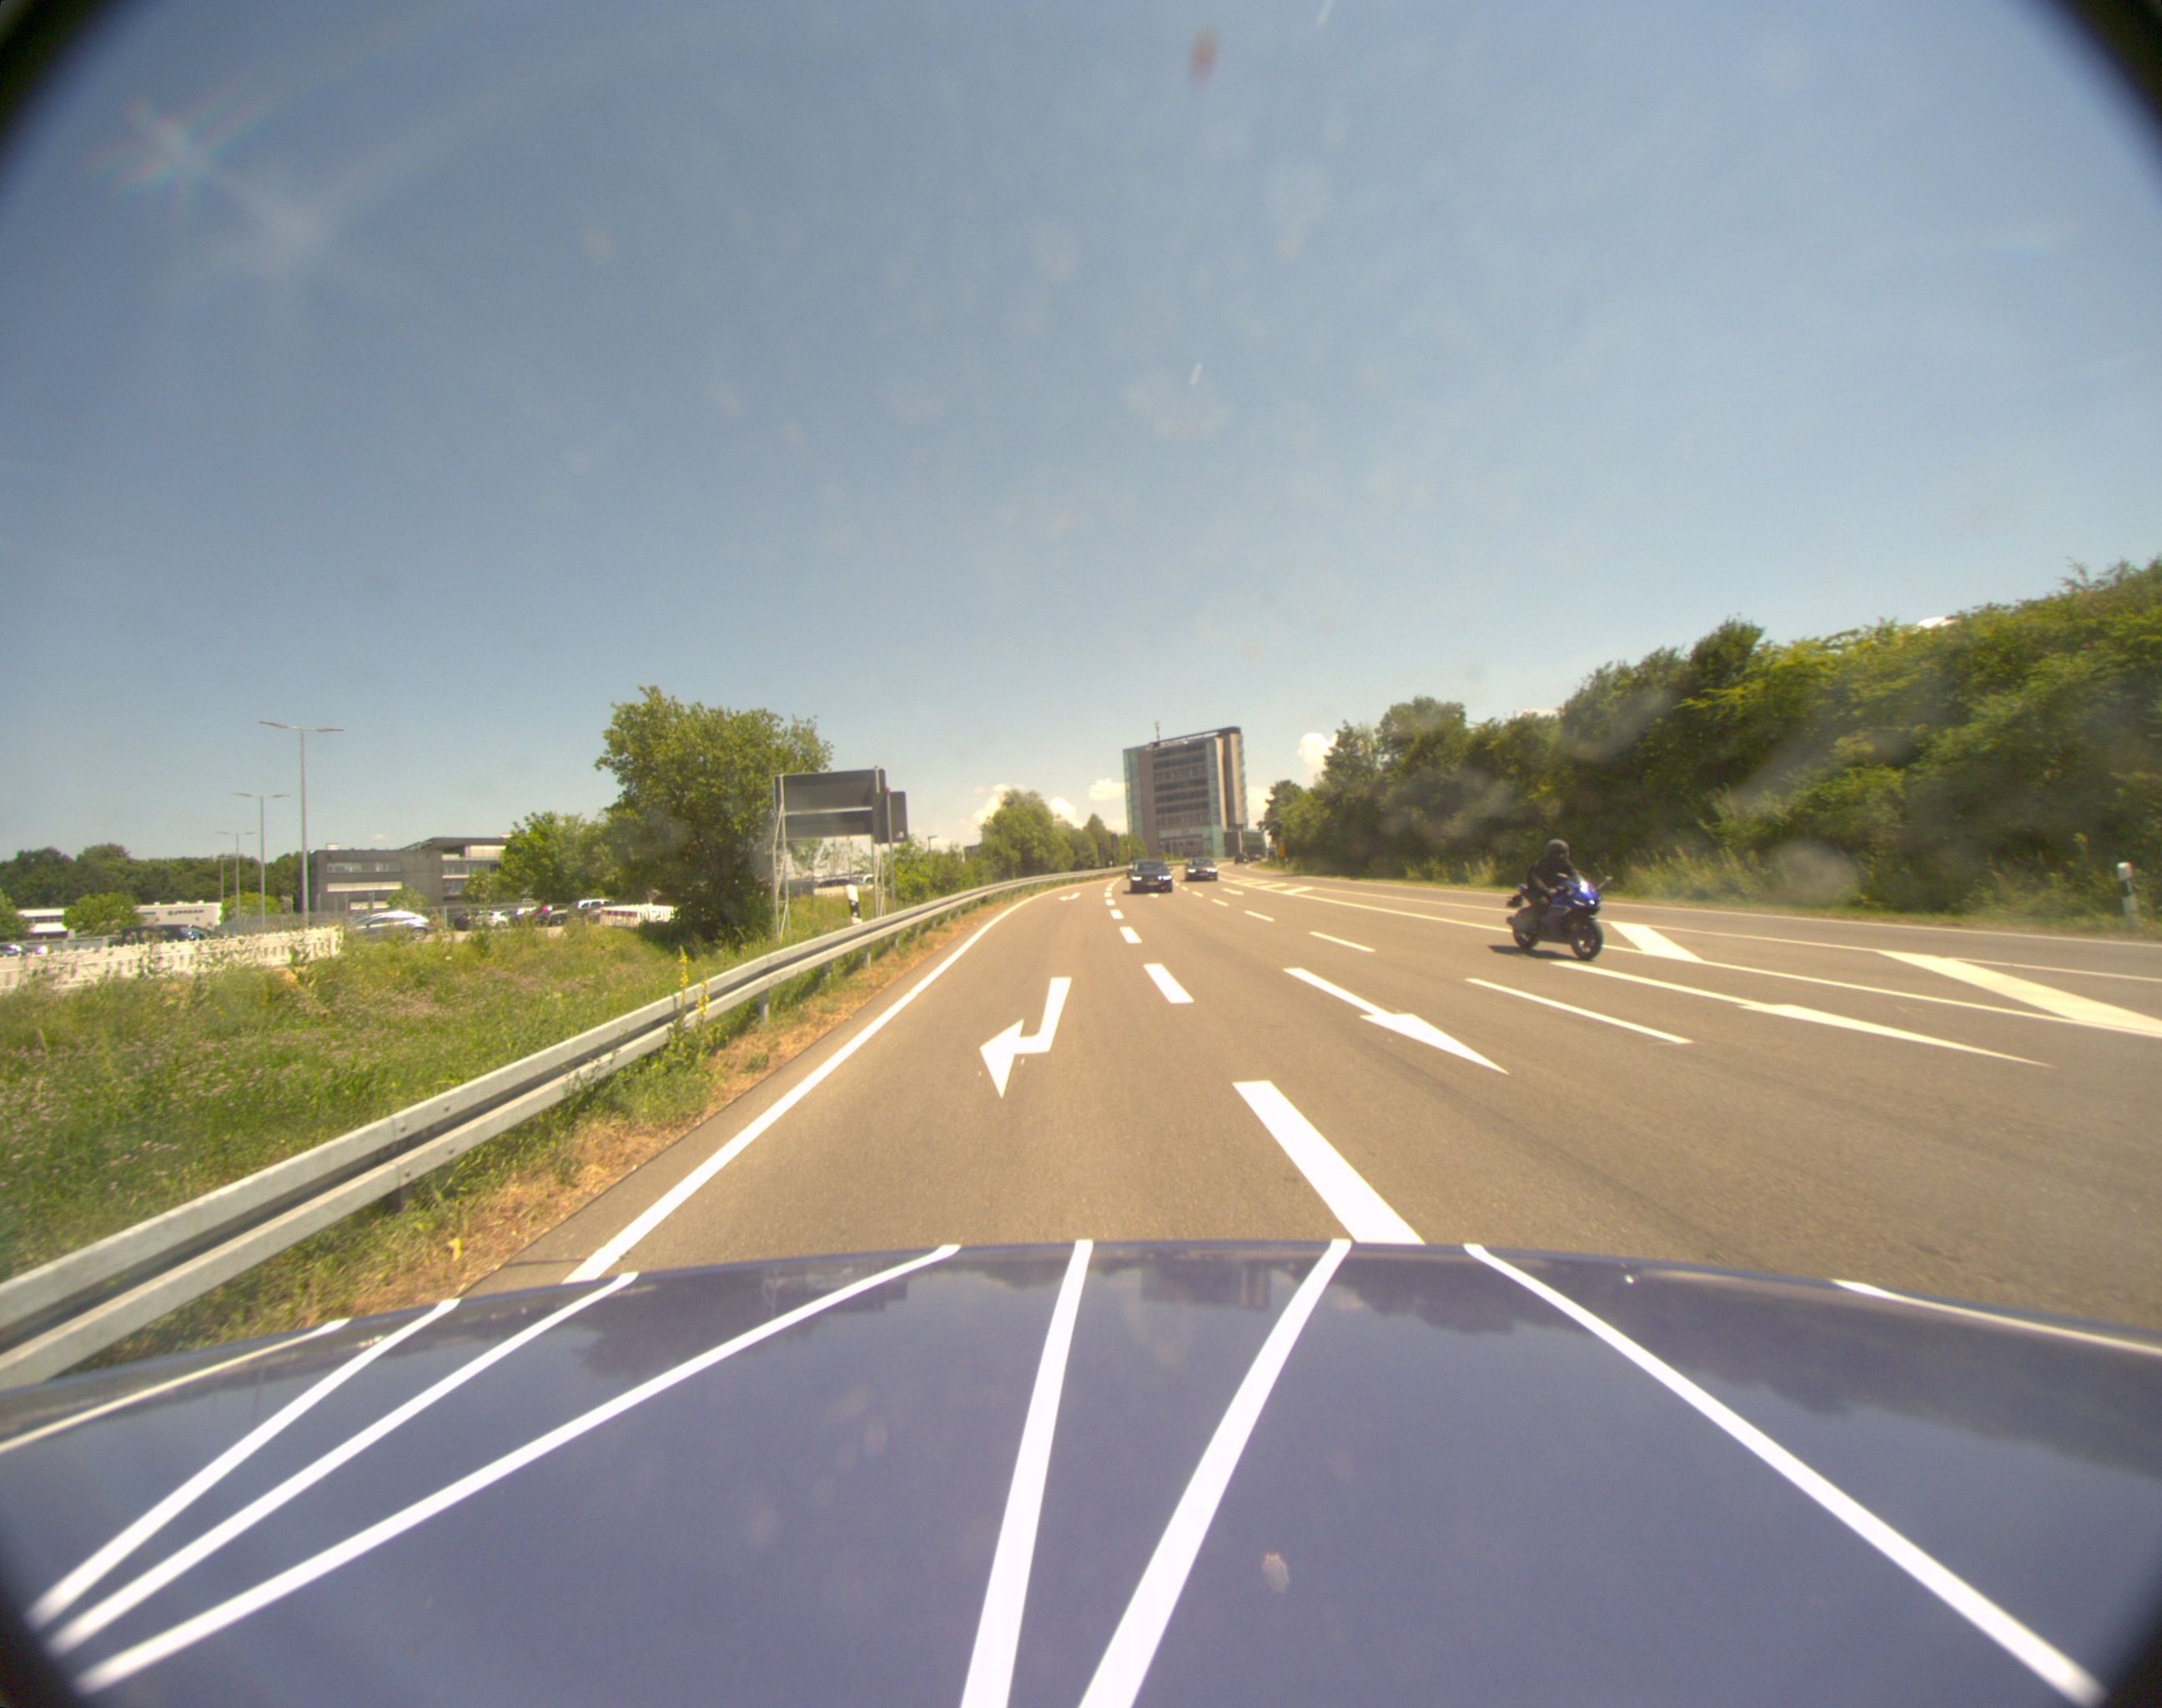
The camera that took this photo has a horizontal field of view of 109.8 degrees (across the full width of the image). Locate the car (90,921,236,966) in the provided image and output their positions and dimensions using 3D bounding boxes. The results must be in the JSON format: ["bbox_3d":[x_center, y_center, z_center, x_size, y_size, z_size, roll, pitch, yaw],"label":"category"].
[{"bbox_3d":[-46.130,4.447,38.331,2.097,1.675,4.549,-3,0,39],"label":"car"}]

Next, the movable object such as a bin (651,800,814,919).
[{"bbox_3d":[-17.573,0.442,39.323,3.432,5.228,9.235,-4,-3,3],"label":"movable object such as a bin"}]

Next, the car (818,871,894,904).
[{"bbox_3d":[-15.434,2.321,52.321,4.441,1.901,2.066,-4,-2,7],"label":"car"}]

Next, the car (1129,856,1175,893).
[{"bbox_3d":[3.136,0.906,34.459,1.779,1.497,4.562,-2,-1,2],"label":"car"}]

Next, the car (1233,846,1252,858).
[{"bbox_3d":[23.476,-0.309,110.191,1.996,1.583,4.689,-2,0,20],"label":"car"}]

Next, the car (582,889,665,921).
[{"bbox_3d":[-28.916,3.202,48.107,1.995,1.663,4.008,-2,0,37],"label":"car"}]

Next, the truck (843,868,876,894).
[{"bbox_3d":[-37.016,4.544,126.719,3.135,3.661,9.403,-3,-3,-29],"label":"truck"}]

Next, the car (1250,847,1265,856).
[{"bbox_3d":[30.179,-0.503,129.913,1.818,1.433,4.651,-1,0,23],"label":"car"}]

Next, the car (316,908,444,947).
[{"bbox_3d":[-35.944,3.714,39.067,1.994,1.499,4.622,-2,0,42],"label":"car"}]

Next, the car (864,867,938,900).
[{"bbox_3d":[-14.283,2.360,60.584,5.230,2.243,2.136,-4,-2,2],"label":"car"}]

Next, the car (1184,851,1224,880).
[{"bbox_3d":[7.561,0.690,47.083,2.116,1.581,4.453,-3,0,6],"label":"car"}]

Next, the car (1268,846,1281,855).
[{"bbox_3d":[39.541,-0.738,155.071,1.995,1.883,5.111,-2,0,22],"label":"car"}]

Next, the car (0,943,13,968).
[{"bbox_3d":[-77.695,7.252,52.245,4.549,1.675,2.097,-4,0,-43],"label":"car"}]

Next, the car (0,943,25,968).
[{"bbox_3d":[-80.085,7.527,54.596,4.549,1.675,2.097,-4,0,-43],"label":"car"}]

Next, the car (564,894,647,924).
[{"bbox_3d":[-31.353,3.602,50.184,1.994,1.624,4.164,-2,0,38],"label":"car"}]

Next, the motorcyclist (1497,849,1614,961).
[{"bbox_3d":[6.695,0.691,10.779,0.861,1.479,1.161,-1,0,-5],"label":"motorcyclist"}]

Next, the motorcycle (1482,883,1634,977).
[{"bbox_3d":[6.709,1.025,10.853,0.734,1.131,2.072,-1,0,-5],"label":"motorcycle"}]

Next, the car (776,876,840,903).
[{"bbox_3d":[-24.879,3.176,69.354,1.995,2.157,5.164,-6,-3,37],"label":"car"}]
